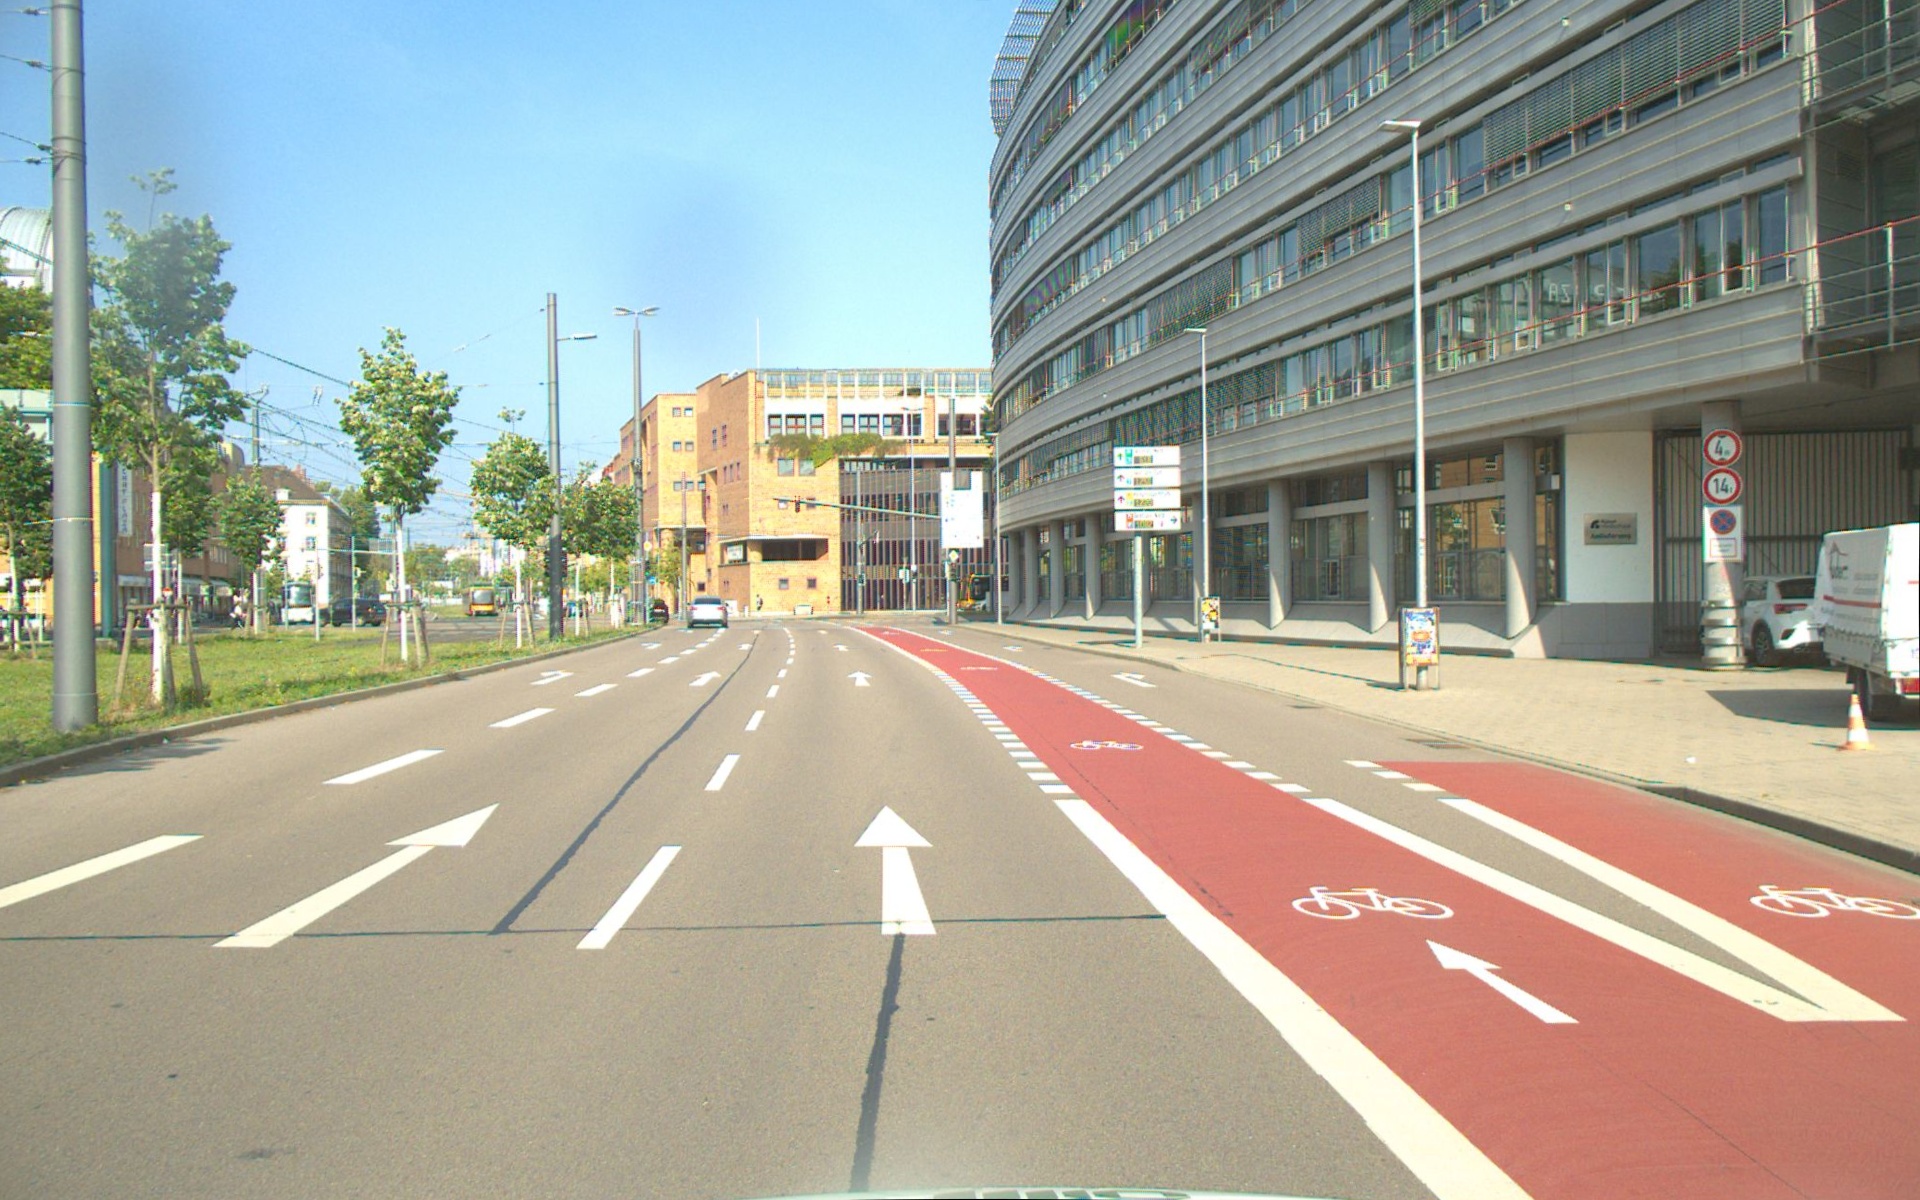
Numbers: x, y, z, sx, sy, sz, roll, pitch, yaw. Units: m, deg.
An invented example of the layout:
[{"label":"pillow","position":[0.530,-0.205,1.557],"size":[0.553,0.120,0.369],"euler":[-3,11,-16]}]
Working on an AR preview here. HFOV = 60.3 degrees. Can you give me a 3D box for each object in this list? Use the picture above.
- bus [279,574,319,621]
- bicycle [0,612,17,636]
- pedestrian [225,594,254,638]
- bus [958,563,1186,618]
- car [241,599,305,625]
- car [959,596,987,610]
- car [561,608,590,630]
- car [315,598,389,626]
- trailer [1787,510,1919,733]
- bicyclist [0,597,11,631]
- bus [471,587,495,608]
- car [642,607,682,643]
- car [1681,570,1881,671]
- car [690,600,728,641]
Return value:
[{"label":"bus","position":[-58.796,-0.180,147.234],"size":[2.705,3.990,12.148],"euler":[-1,0,-19]},{"label":"bicycle","position":[-50.491,1.298,86.823],"size":[2.235,1.228,0.550],"euler":[-2,-2,26]},{"label":"pedestrian","position":[-34.193,0.774,78.500],"size":[1.137,2.049,0.772],"euler":[-1,-2,-18]},{"label":"bus","position":[8.595,-0.731,127.205],"size":[17.276,3.877,2.860],"euler":[-1,-2,-8]},{"label":"car","position":[-46.190,0.796,111.253],"size":[3.539,1.652,1.867],"euler":[-1,0,-2]},{"label":"car","position":[0.963,0.216,122.644],"size":[1.915,0.975,1.091],"euler":[1,-3,-8]},{"label":"car","position":[-37.753,1.853,162.244],"size":[1.969,2.049,3.966],"euler":[0,-2,-26]},{"label":"car","position":[-38.804,0.786,105.588],"size":[3.902,1.708,2.001],"euler":[-1,-2,7]},{"label":"trailer","position":[11.096,0.171,18.782],"size":[2.339,2.189,5.951],"euler":[-1,0,20]},{"label":"bicyclist","position":[-50.436,0.740,86.838],"size":[0.945,1.777,0.666],"euler":[-2,-2,26]},{"label":"bus","position":[-49.096,-0.222,170.172],"size":[1.965,2.049,3.974],"euler":[0,-2,-21]},{"label":"car","position":[-17.266,1.464,95.861],"size":[1.955,2.049,4.236],"euler":[-1,-1,-6]},{"label":"car","position":[14.244,0.303,28.951],"size":[1.707,1.617,4.002],"euler":[-1,1,4]},{"label":"car","position":[-11.615,0.971,76.590],"size":[1.673,1.786,3.882],"euler":[-1,-1,-9]}]
